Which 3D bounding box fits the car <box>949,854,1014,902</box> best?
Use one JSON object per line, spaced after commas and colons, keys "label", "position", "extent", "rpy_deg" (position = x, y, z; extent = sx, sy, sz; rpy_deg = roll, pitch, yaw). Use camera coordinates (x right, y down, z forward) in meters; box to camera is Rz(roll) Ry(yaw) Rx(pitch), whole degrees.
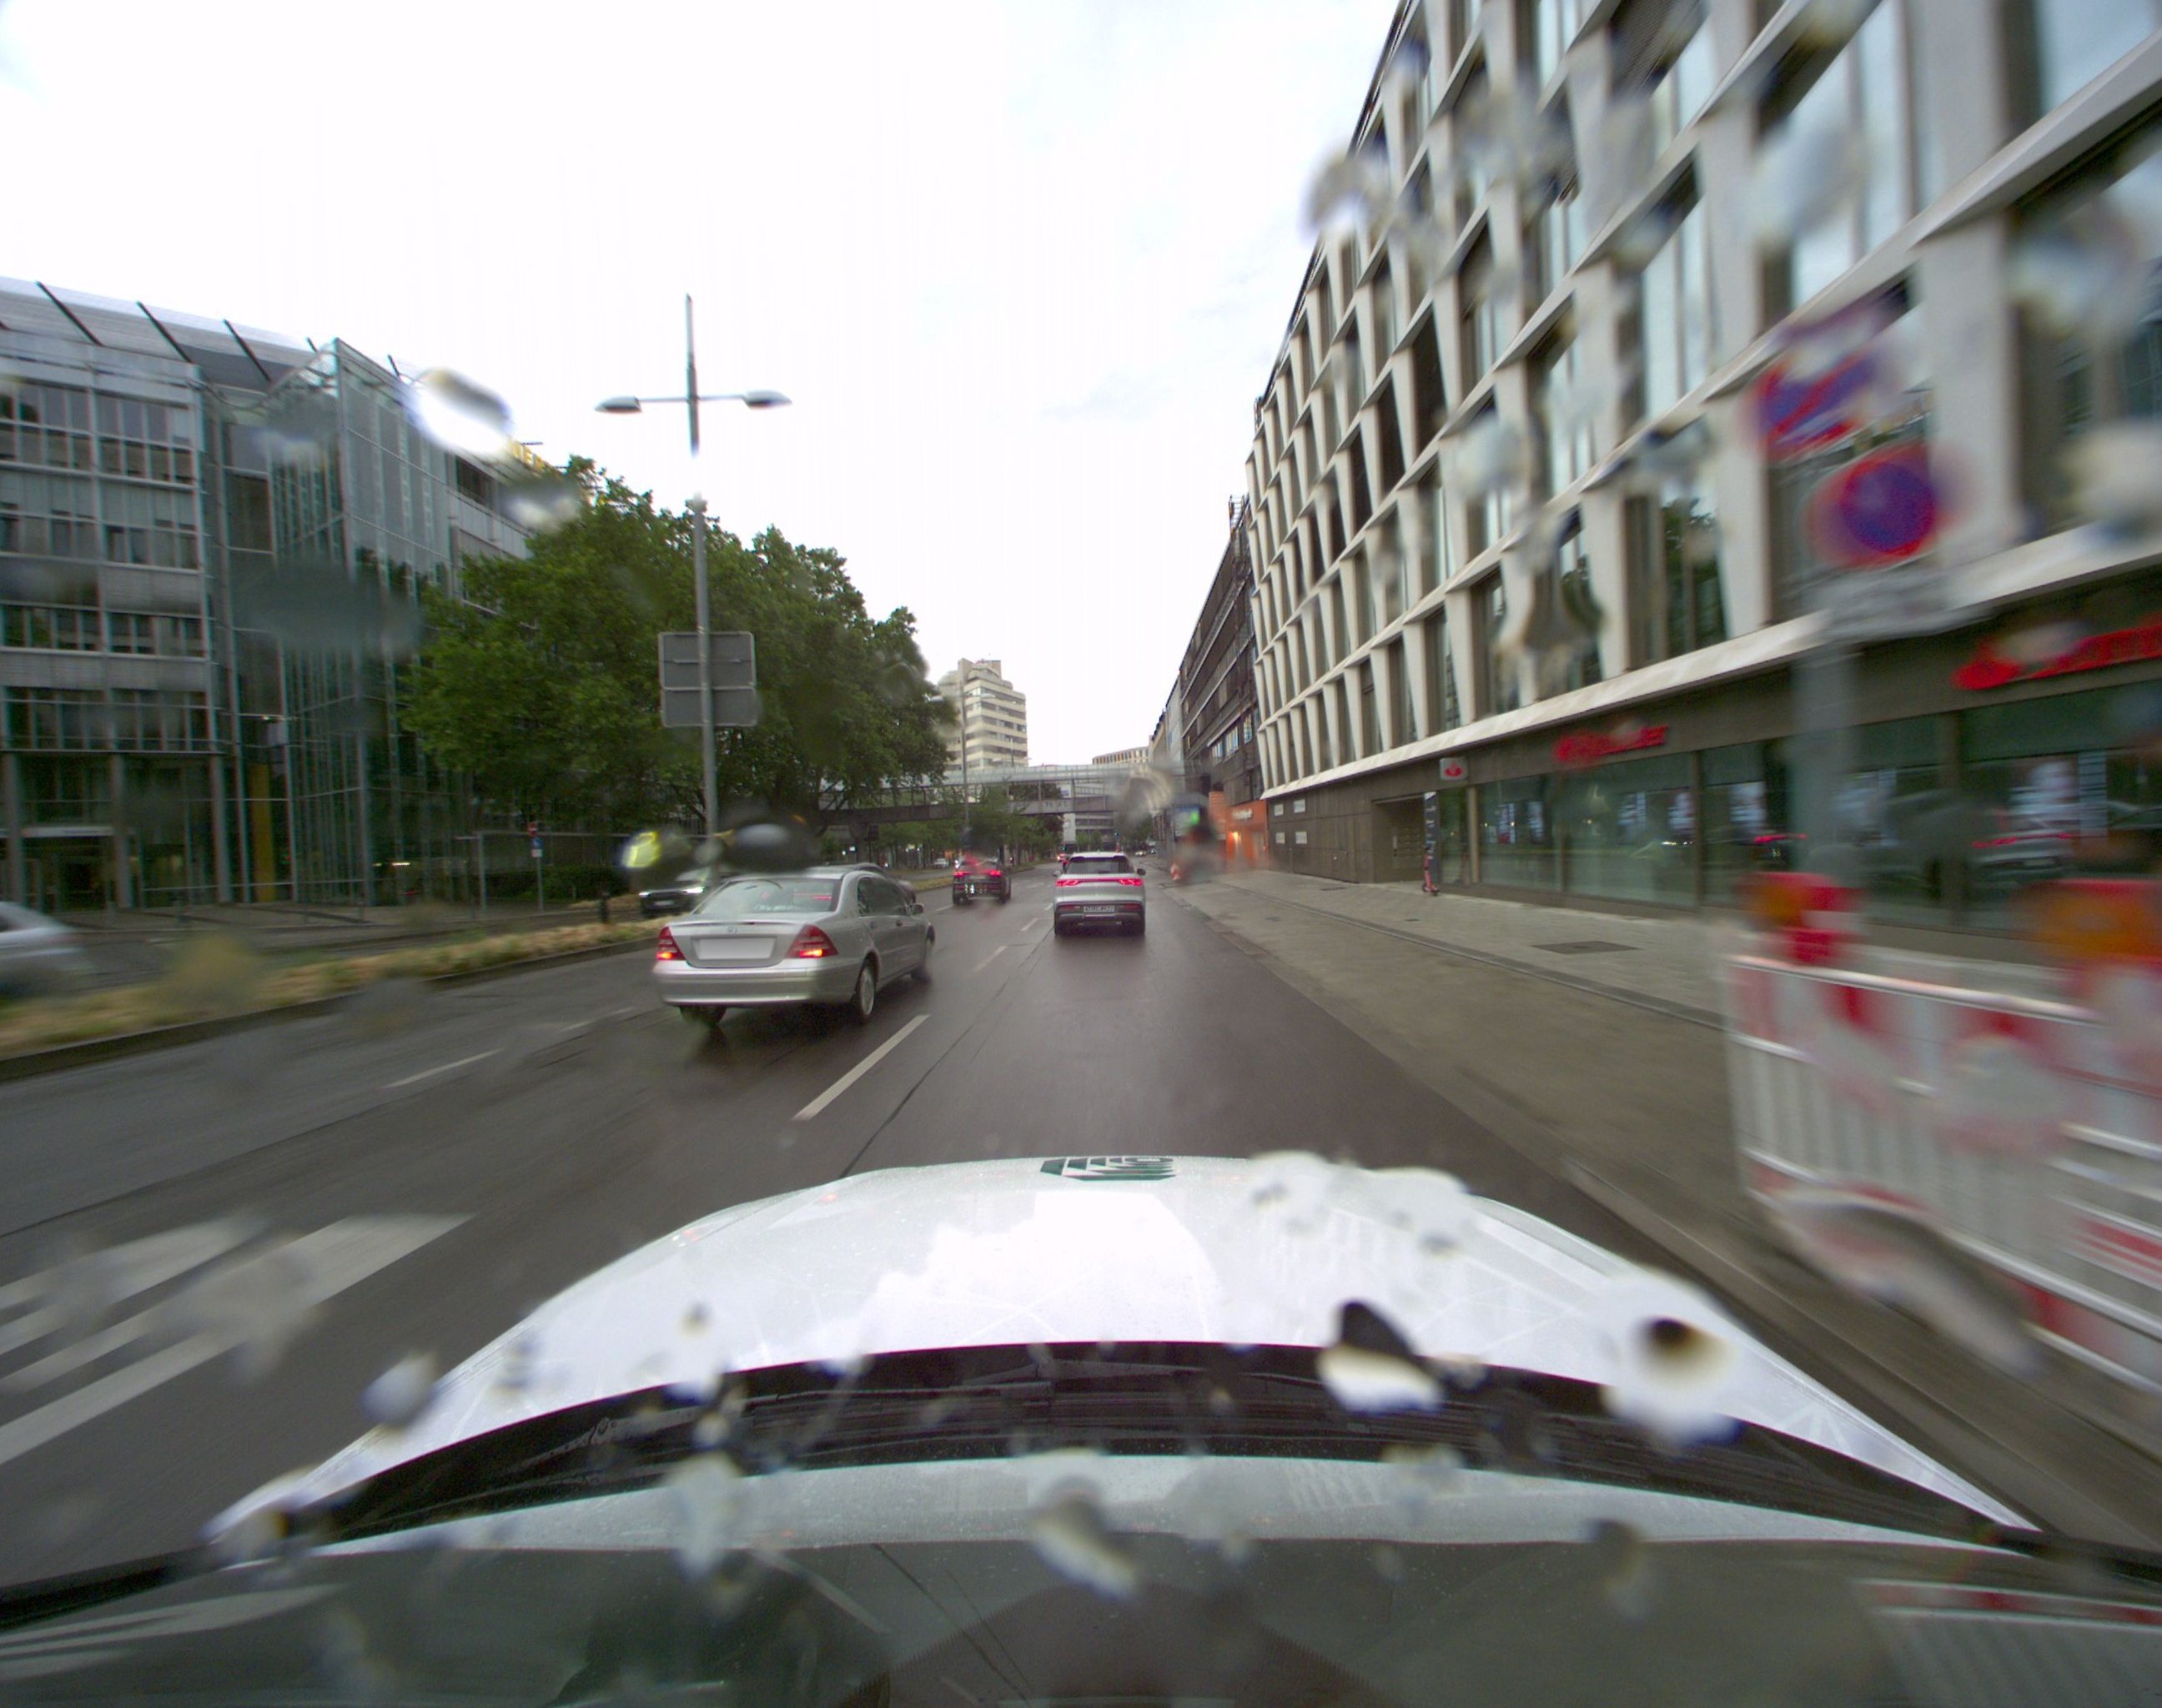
{"label": "car", "position": [-3.315, 0.783, 27.728], "extent": [1.769, 1.457, 3.997], "rpy_deg": [-2, -1, -2]}

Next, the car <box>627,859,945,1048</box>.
{"label": "car", "position": [-2.742, 0.838, 8.724], "extent": [1.666, 1.479, 4.362], "rpy_deg": [-1, -1, 2]}

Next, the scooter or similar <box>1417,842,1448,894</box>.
{"label": "scooter or similar", "position": [8.707, 0.328, 20.182], "extent": [0.409, 1.236, 1.192], "rpy_deg": [-2, 0, 11]}

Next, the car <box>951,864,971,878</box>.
{"label": "car", "position": [-13.809, 1.925, 93.778], "extent": [1.656, 1.464, 4.080], "rpy_deg": [-4, 0, 0]}

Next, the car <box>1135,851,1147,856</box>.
{"label": "car", "position": [17.629, -0.156, 238.830], "extent": [1.565, 1.538, 4.026], "rpy_deg": [-2, 0, 32]}

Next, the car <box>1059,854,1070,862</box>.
{"label": "car", "position": [-2.956, 0.767, 146.263], "extent": [1.646, 1.342, 4.004], "rpy_deg": [-2, 0, 4]}

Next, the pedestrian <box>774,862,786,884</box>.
{"label": "pedestrian", "position": [-25.975, 1.650, 70.286], "extent": [0.720, 1.807, 0.618], "rpy_deg": [-2, 0, 2]}

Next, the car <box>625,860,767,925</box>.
{"label": "car", "position": [-11.345, 1.067, 24.426], "extent": [1.867, 1.680, 4.682], "rpy_deg": [-2, -1, 2]}

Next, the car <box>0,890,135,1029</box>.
{"label": "car", "position": [-11.792, 1.110, 7.314], "extent": [1.589, 1.360, 4.121], "rpy_deg": [-3, -1, 4]}

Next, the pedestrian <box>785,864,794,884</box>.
{"label": "pedestrian", "position": [-25.150, 1.758, 70.268], "extent": [0.557, 1.686, 0.511], "rpy_deg": [-2, 0, 2]}

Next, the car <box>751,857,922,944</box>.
{"label": "car", "position": [-4.940, 0.861, 17.302], "extent": [1.865, 1.479, 4.882], "rpy_deg": [-3, 0, 3]}

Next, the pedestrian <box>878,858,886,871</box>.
{"label": "pedestrian", "position": [-27.381, 1.478, 112.083], "extent": [0.740, 1.715, 1.057], "rpy_deg": [-2, 0, 1]}

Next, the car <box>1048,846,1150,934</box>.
{"label": "car", "position": [0.402, 0.686, 17.285], "extent": [1.894, 1.621, 4.001], "rpy_deg": [0, 0, 2]}

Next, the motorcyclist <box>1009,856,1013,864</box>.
{"label": "motorcyclist", "position": [-13.377, 1.171, 155.569], "extent": [0.635, 1.418, 0.970], "rpy_deg": [-2, -1, 2]}

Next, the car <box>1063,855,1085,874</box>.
{"label": "car", "position": [-0.614, 0.947, 75.433], "extent": [1.804, 1.578, 4.003], "rpy_deg": [-2, 0, 3]}
